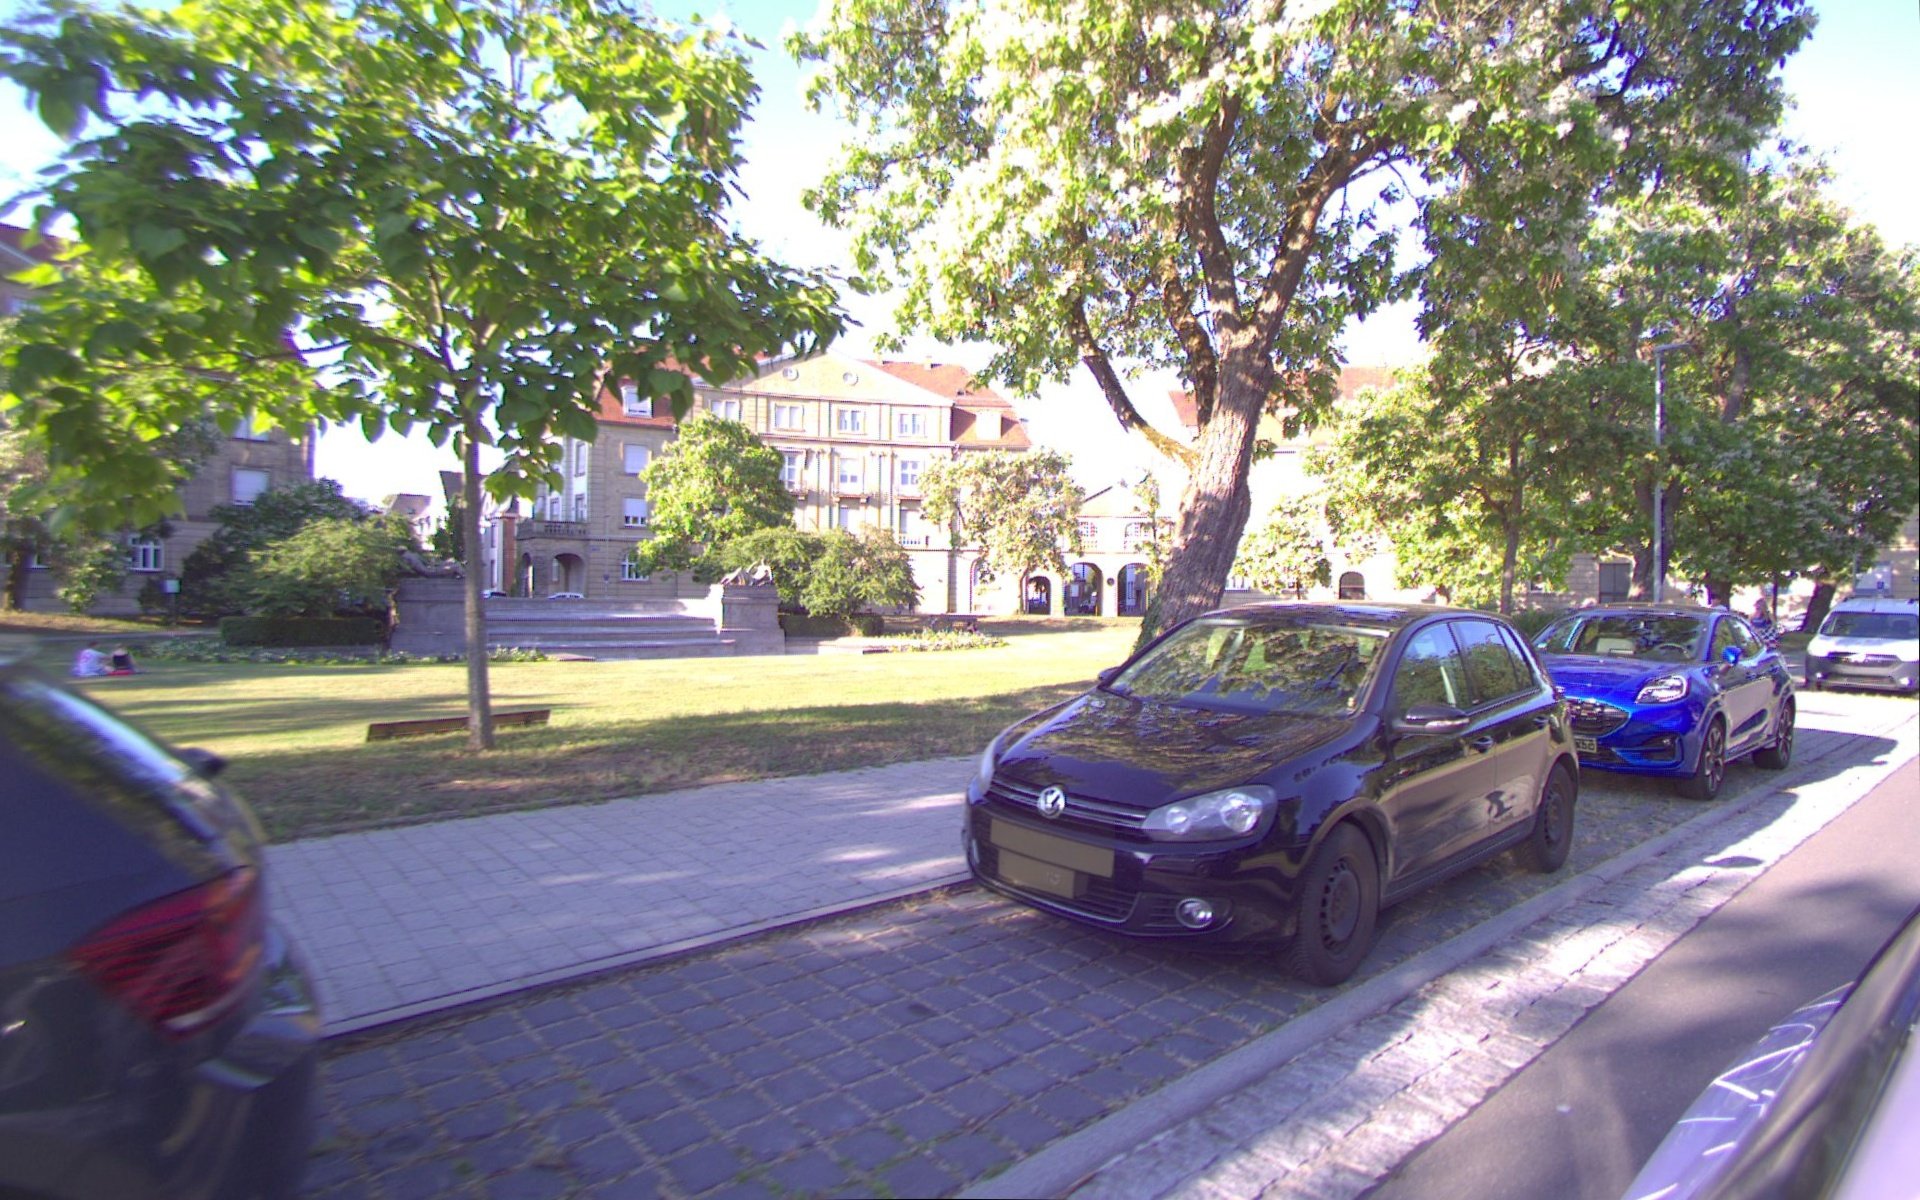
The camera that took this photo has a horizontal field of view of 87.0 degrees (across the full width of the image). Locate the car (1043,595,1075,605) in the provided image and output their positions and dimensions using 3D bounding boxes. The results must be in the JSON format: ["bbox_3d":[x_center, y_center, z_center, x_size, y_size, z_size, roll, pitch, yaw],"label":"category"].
[{"bbox_3d":[14.095,0.032,144.081,4.288,1.435,1.820,0,1,0],"label":"car"}]

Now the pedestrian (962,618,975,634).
[{"bbox_3d":[0.468,1.470,57.131,0.663,0.892,0.578,0,-1,-3],"label":"pedestrian"}]

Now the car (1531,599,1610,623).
[{"bbox_3d":[39.548,0.680,65.693,4.329,1.435,1.826,1,1,30],"label":"car"}]

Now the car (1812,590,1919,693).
[{"bbox_3d":[17.819,0.704,19.388,4.436,1.761,1.681,0,1,-42],"label":"car"}]

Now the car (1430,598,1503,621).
[{"bbox_3d":[34.266,0.607,68.558,4.394,1.435,1.553,1,1,26],"label":"car"}]

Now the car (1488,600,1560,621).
[{"bbox_3d":[40.179,0.726,72.142,4.411,1.341,1.491,1,1,28],"label":"car"}]

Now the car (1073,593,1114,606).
[{"bbox_3d":[14.946,-0.026,113.439,4.283,1.435,1.822,0,1,-6],"label":"car"}]

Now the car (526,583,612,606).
[{"bbox_3d":[-24.959,-0.378,64.668,4.854,1.435,1.820,0,1,-34],"label":"car"}]

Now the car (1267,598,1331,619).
[{"bbox_3d":[24.373,0.619,72.747,4.316,1.435,1.808,1,1,20],"label":"car"}]

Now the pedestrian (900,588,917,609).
[{"bbox_3d":[-3.598,-0.097,71.024,0.933,1.493,0.682,0,0,-39],"label":"pedestrian"}]

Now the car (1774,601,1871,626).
[{"bbox_3d":[52.971,0.789,62.195,4.440,1.436,1.905,1,1,44],"label":"car"}]

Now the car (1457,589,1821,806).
[{"bbox_3d":[6.430,0.693,9.395,4.200,1.570,1.735,0,1,-40],"label":"car"}]

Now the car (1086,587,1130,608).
[{"bbox_3d":[15.676,-0.282,107.252,4.285,2.134,1.821,0,0,-3],"label":"car"}]

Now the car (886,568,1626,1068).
[{"bbox_3d":[1.851,0.660,5.297,4.347,1.570,1.734,0,1,-43],"label":"car"}]

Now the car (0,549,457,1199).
[{"bbox_3d":[-2.981,0.665,0.995,4.180,1.482,1.627,0,1,-45],"label":"car"}]

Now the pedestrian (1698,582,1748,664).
[{"bbox_3d":[16.848,0.502,22.353,0.719,1.758,0.726,1,-1,-40],"label":"pedestrian"}]

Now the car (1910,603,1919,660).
[{"bbox_3d":[28.081,0.850,28.373,4.726,1.504,1.681,0,1,-42],"label":"car"}]

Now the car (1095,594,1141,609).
[{"bbox_3d":[15.746,0.159,100.965,4.283,1.435,1.822,0,1,-6],"label":"car"}]

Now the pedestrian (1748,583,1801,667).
[{"bbox_3d":[17.444,0.526,21.678,0.719,1.758,0.754,1,-1,-40],"label":"pedestrian"}]

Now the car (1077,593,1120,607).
[{"bbox_3d":[15.158,0.012,110.933,4.283,1.435,1.822,0,1,-6],"label":"car"}]

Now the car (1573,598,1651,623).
[{"bbox_3d":[44.584,0.671,69.337,4.419,1.620,1.782,1,1,32],"label":"car"}]

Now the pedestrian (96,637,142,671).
[{"bbox_3d":[-20.731,1.327,24.955,0.656,0.804,0.586,0,0,6],"label":"pedestrian"}]

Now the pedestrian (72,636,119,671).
[{"bbox_3d":[-21.398,1.322,25.054,0.656,0.804,0.586,0,0,6],"label":"pedestrian"}]

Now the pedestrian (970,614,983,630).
[{"bbox_3d":[0.942,1.275,58.155,0.663,0.892,0.578,0,-1,-3],"label":"pedestrian"}]

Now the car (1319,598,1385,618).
[{"bbox_3d":[29.832,0.587,77.162,4.589,1.435,1.809,1,1,18],"label":"car"}]
